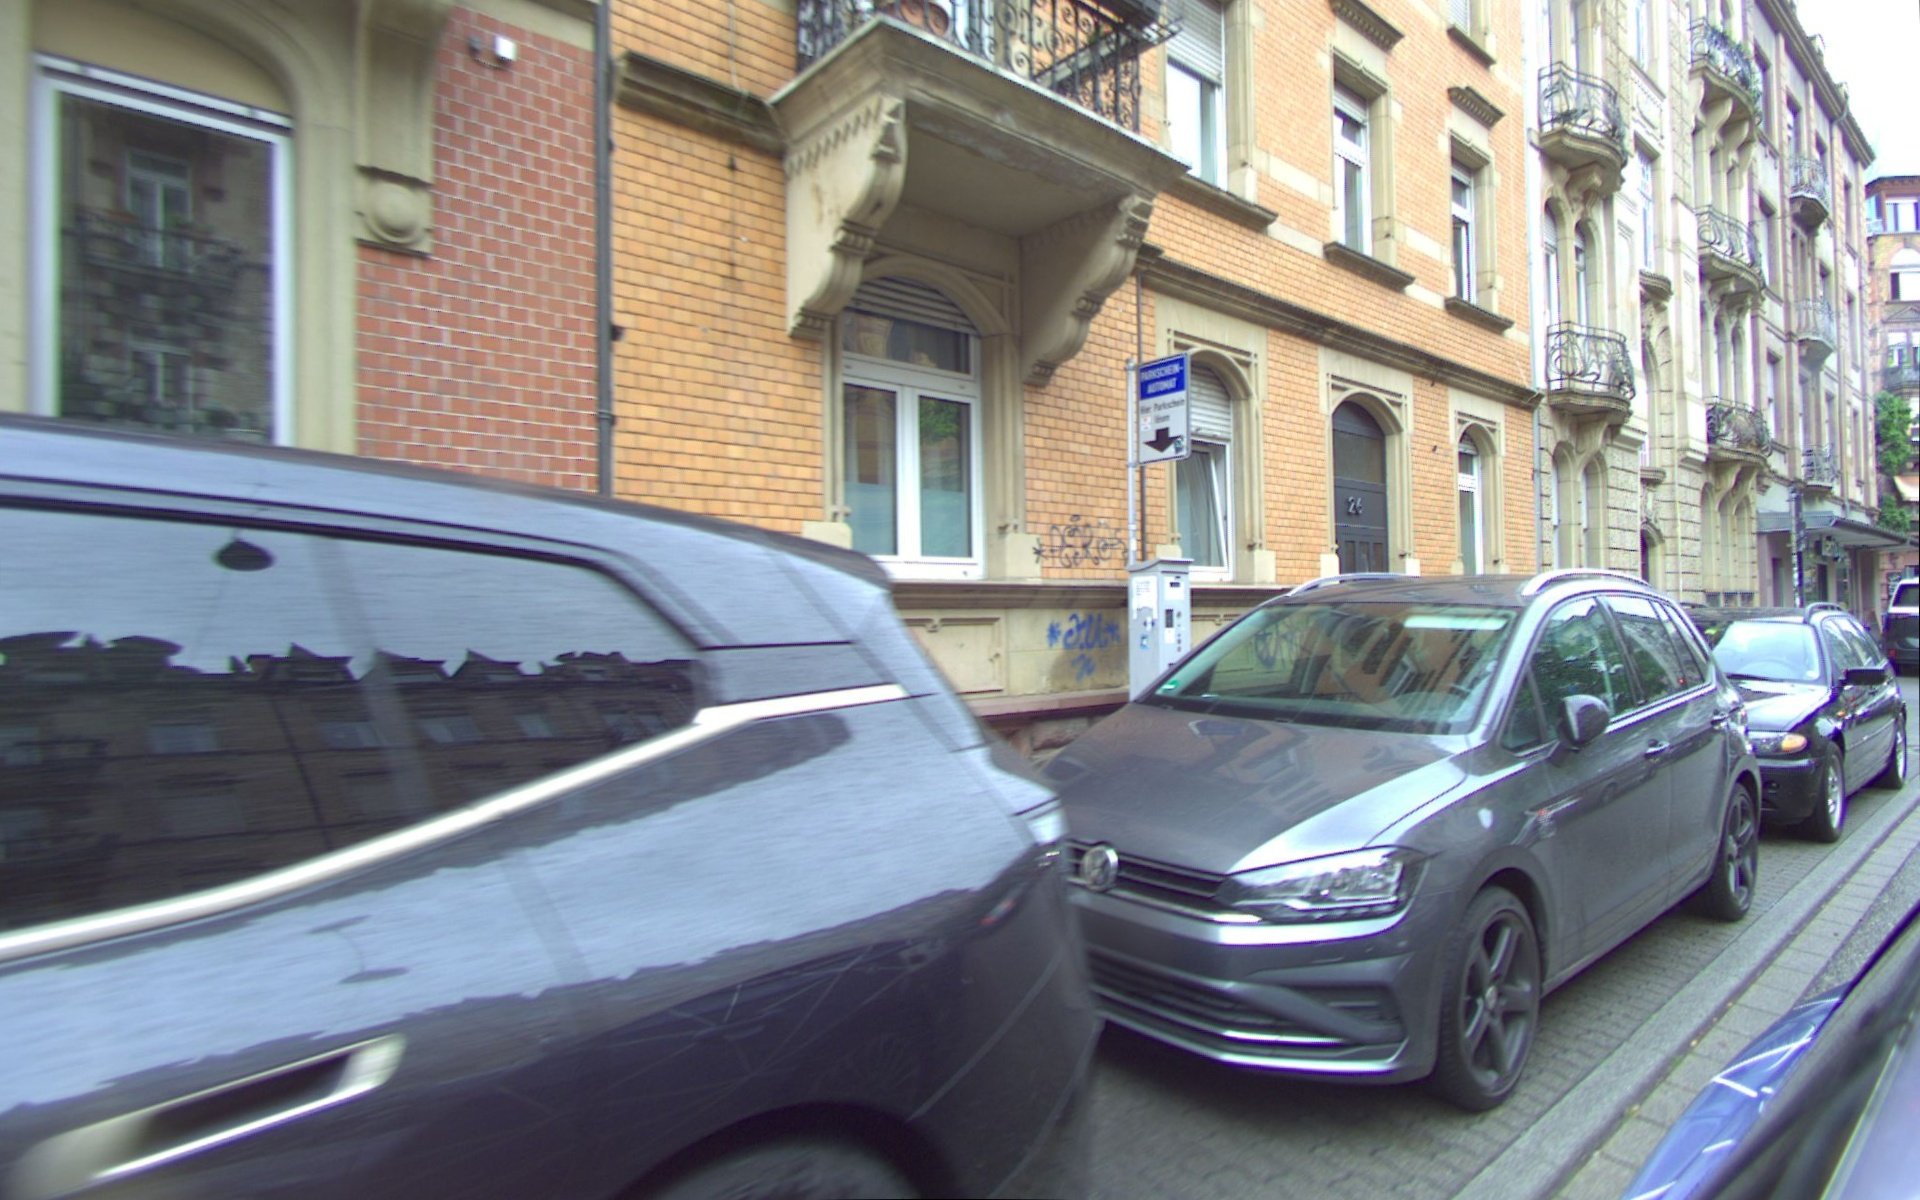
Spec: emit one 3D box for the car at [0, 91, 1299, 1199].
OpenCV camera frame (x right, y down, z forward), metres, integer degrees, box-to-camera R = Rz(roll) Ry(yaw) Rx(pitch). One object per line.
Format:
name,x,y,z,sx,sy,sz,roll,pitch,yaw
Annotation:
car,-1.771,0.533,1.128,4.743,1.802,1.996,-1,0,-42

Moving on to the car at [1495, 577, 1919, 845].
car,5.967,0.655,7.731,4.403,1.485,1.790,1,-2,-40

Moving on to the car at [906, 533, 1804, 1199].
car,2.020,0.621,4.447,4.267,1.581,1.875,0,0,-40

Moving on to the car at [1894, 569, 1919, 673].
car,20.397,0.370,20.378,5.143,1.963,1.995,-1,1,-43
